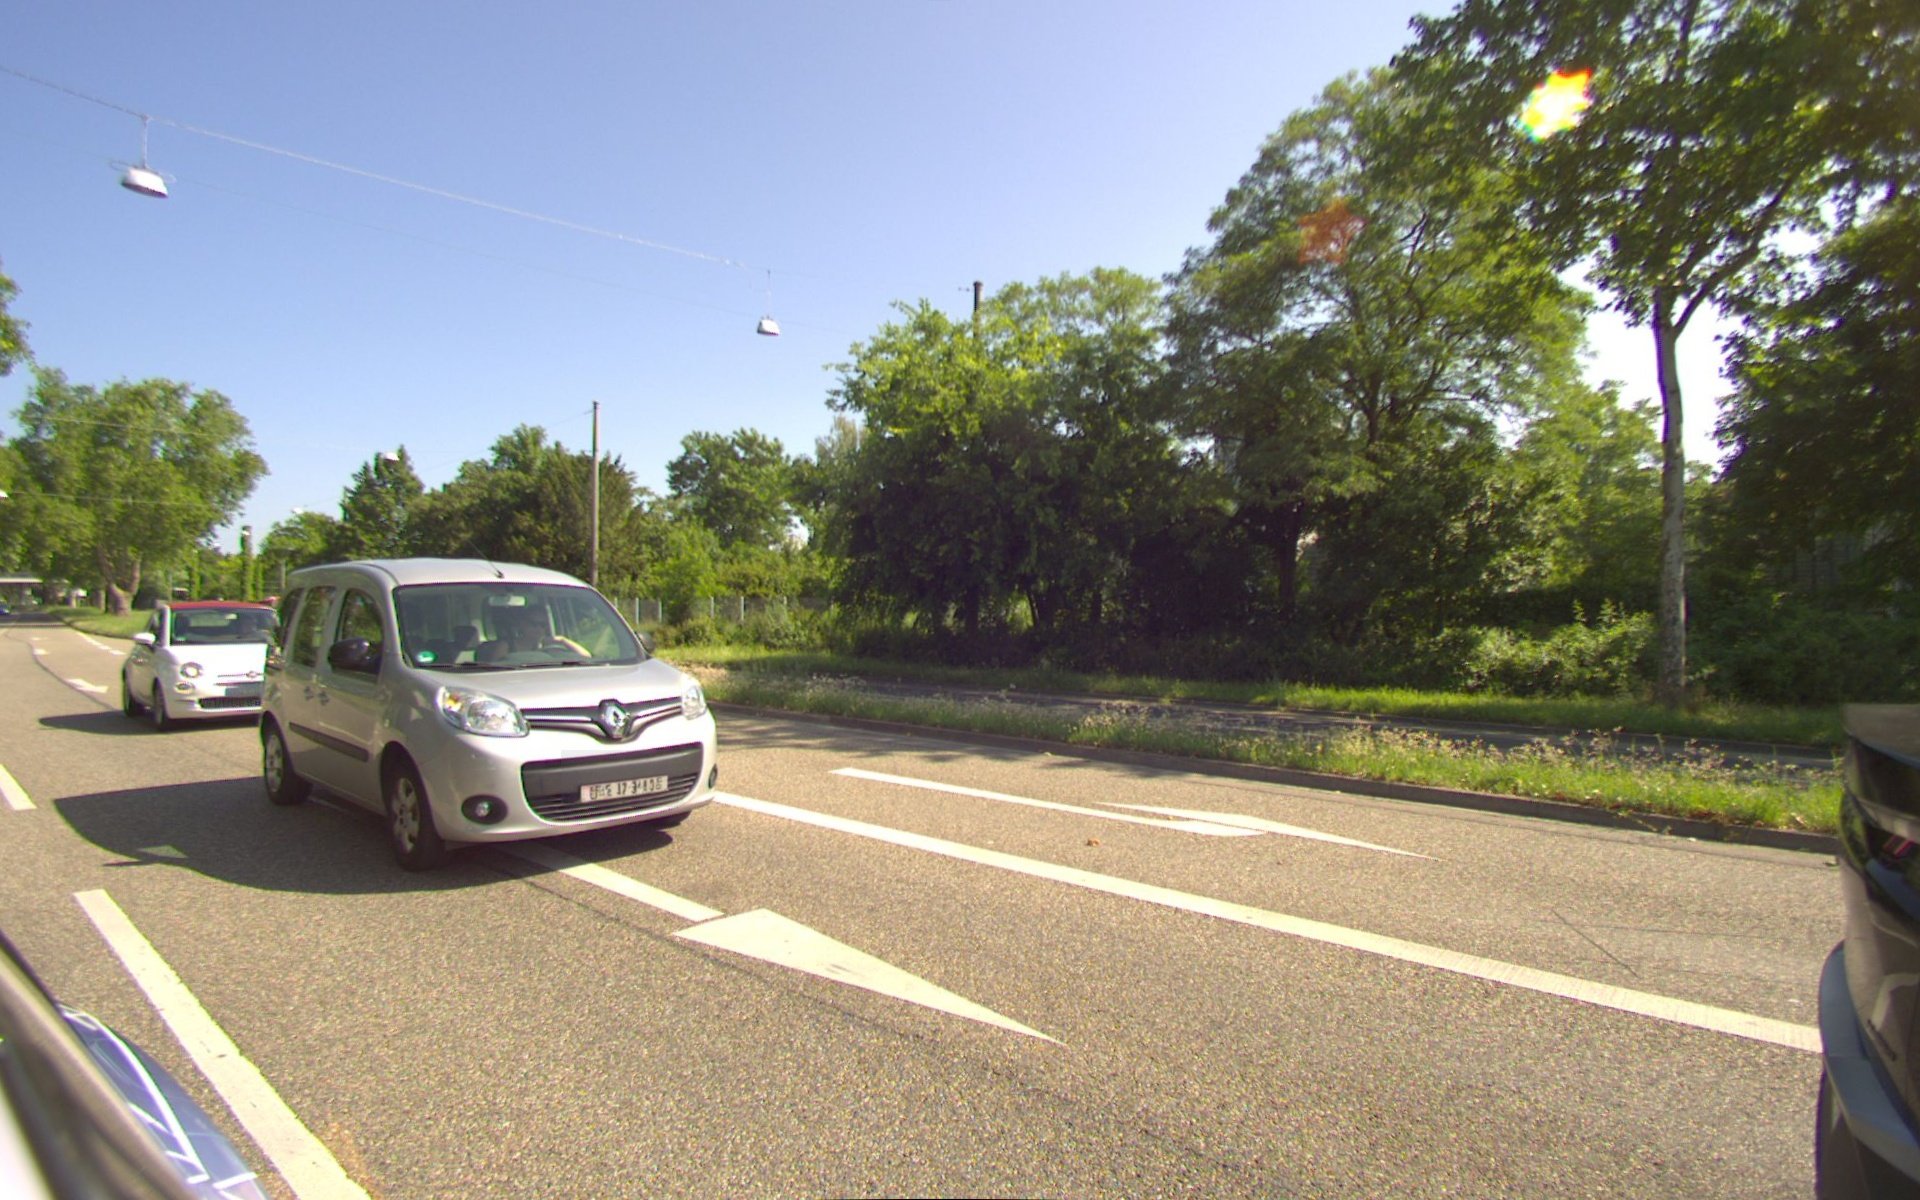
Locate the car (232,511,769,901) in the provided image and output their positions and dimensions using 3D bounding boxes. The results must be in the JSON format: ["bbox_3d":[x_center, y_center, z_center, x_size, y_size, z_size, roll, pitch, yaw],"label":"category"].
[{"bbox_3d":[-3.392,0.523,7.006,4.375,1.854,1.852,0,-1,43],"label":"car"}]

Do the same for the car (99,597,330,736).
[{"bbox_3d":[-9.859,0.745,13.248,4.376,1.502,1.666,0,1,43],"label":"car"}]

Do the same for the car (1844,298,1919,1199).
[{"bbox_3d":[3.298,0.510,0.382,4.434,1.709,1.852,0,0,41],"label":"car"}]
